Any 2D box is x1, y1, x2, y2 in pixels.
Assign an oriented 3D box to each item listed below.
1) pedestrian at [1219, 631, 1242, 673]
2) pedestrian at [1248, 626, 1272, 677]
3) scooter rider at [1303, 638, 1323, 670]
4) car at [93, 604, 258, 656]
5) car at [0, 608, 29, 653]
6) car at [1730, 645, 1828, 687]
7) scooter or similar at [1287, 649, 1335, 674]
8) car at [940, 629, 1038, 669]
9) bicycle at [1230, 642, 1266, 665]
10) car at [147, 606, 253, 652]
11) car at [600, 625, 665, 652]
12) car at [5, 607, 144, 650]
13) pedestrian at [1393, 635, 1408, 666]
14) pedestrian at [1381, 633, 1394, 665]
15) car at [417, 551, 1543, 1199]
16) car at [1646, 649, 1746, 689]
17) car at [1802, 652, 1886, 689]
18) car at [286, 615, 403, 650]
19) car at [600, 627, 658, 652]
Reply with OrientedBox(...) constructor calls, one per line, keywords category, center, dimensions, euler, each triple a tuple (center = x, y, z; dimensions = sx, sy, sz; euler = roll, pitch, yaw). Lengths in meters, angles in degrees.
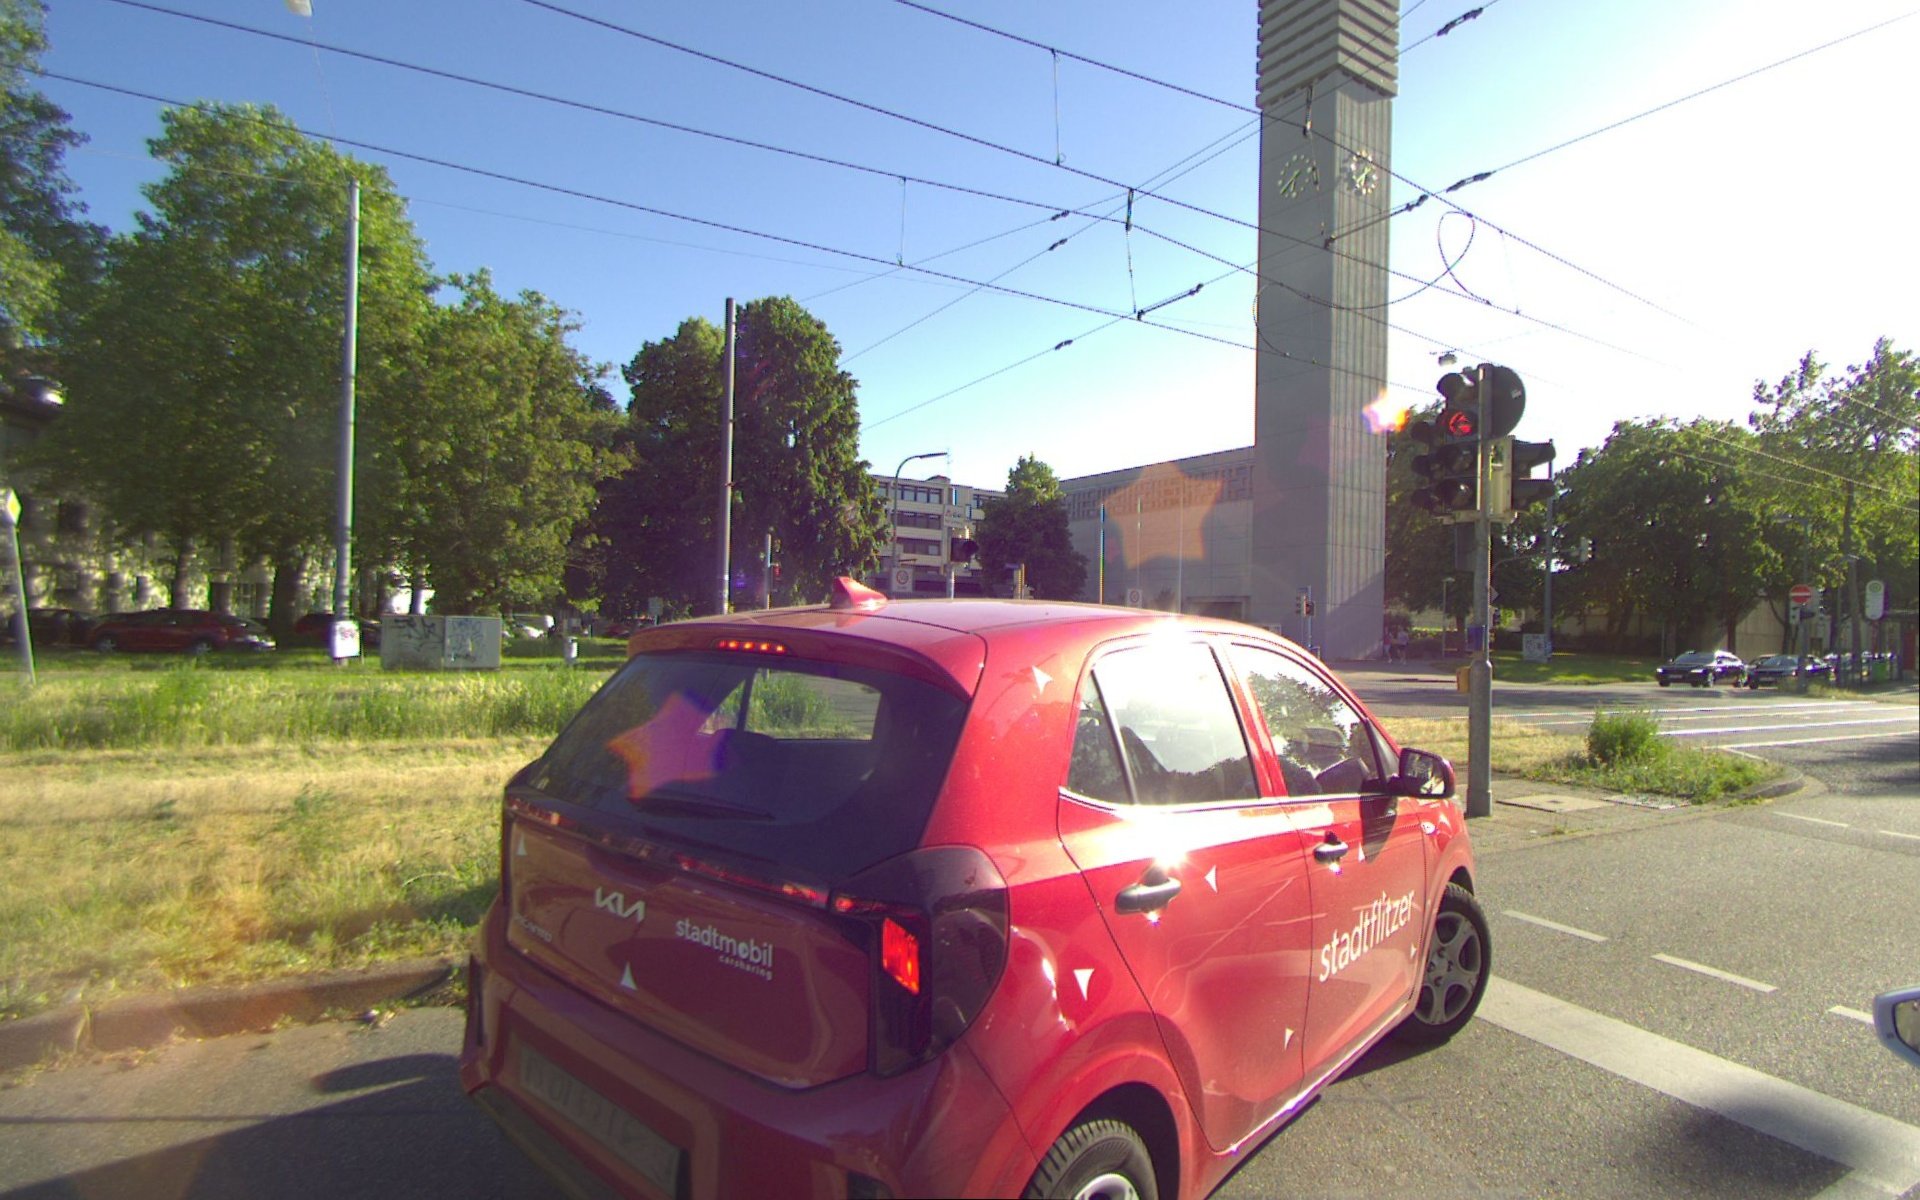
OrientedBox(category="pedestrian", center=(11.124, 2.141, 41.356), dimensions=(0.735, 1.689, 0.442), euler=(2, 1, -21))
OrientedBox(category="pedestrian", center=(11.825, 2.027, 39.569), dimensions=(0.735, 1.941, 0.417), euler=(2, 1, -21))
OrientedBox(category="scooter rider", center=(14.075, 2.147, 40.079), dimensions=(0.520, 1.234, 0.584), euler=(3, 1, 45))
OrientedBox(category="car", center=(-24.040, 0.918, 30.887), dimensions=(3.585, 1.399, 1.641), euler=(3, 1, -13))
OrientedBox(category="car", center=(-36.507, 1.022, 36.110), dimensions=(3.929, 1.635, 1.879), euler=(3, -3, -10))
OrientedBox(category="car", center=(33.009, 2.644, 40.439), dimensions=(4.310, 1.553, 1.679), euler=(2, -2, -30))
OrientedBox(category="scooter or similar", center=(14.028, 2.460, 40.154), dimensions=(0.560, 0.911, 1.717), euler=(3, -2, -45))
OrientedBox(category="car", center=(1.250, 2.183, 45.545), dimensions=(1.980, 1.420, 4.671), euler=(2, 1, -35))
OrientedBox(category="bicycle", center=(13.709, 2.545, 47.845), dimensions=(1.659, 1.059, 0.490), euler=(2, 1, -23))
OrientedBox(category="car", center=(-29.967, 1.145, 39.738), dimensions=(1.719, 1.706, 3.992), euler=(1, -1, -11))
OrientedBox(category="car", center=(-22.412, 2.647, 68.736), dimensions=(3.953, 1.795, 1.659), euler=(2, -2, -30))
OrientedBox(category="car", center=(-38.483, 1.266, 43.774), dimensions=(3.989, 1.686, 1.997), euler=(3, -3, -10))
OrientedBox(category="pedestrian", center=(21.913, 2.511, 49.972), dimensions=(0.483, 1.527, 0.433), euler=(2, 1, -34))
OrientedBox(category="pedestrian", center=(21.436, 2.437, 50.410), dimensions=(0.302, 1.581, 0.433), euler=(2, 1, -34))
OrientedBox(category="car", center=(0.553, 0.725, 3.244), dimensions=(1.674, 1.528, 3.682), euler=(3, 0, 40))
OrientedBox(category="car", center=(30.685, 2.860, 41.843), dimensions=(4.310, 1.553, 1.798), euler=(2, -2, -30))
OrientedBox(category="car", center=(38.194, 3.018, 43.384), dimensions=(3.869, 1.421, 1.558), euler=(2, 1, -30))
OrientedBox(category="car", center=(-26.368, 1.399, 43.125), dimensions=(3.932, 1.400, 1.581), euler=(1, -1, -14))
OrientedBox(category="car", center=(-25.371, 3.012, 76.990), dimensions=(3.953, 1.795, 1.659), euler=(2, -2, -30))
